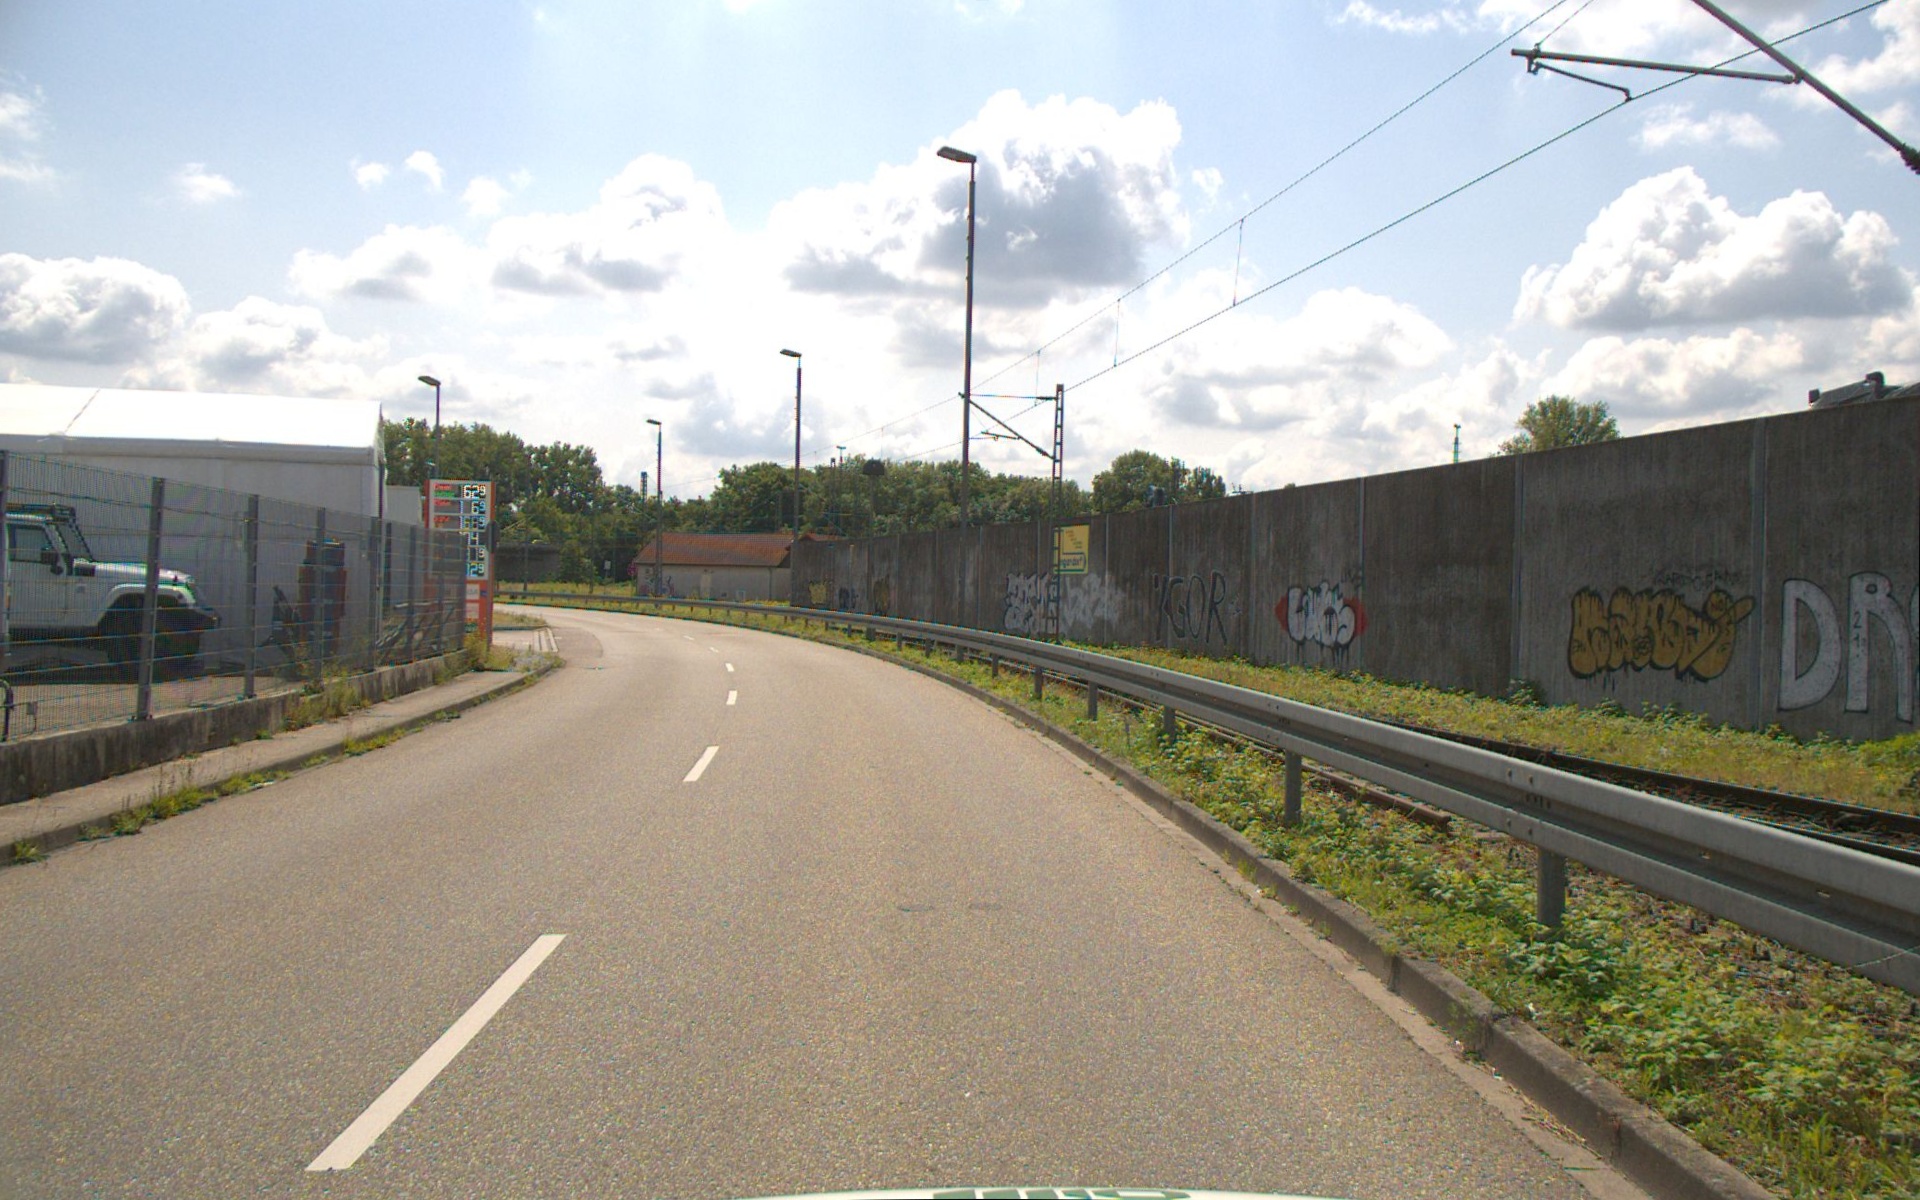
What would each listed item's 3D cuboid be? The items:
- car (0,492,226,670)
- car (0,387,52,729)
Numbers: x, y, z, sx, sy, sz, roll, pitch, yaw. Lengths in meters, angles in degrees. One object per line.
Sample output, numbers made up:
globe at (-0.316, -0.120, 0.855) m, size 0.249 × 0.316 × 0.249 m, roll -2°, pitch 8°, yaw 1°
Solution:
car at (-11.448, -0.221, 20.101) m, size 4.491 × 2.062 × 2.045 m, roll 1°, pitch 0°, yaw -22°
car at (-7.952, -0.306, 9.894) m, size 2.079 × 2.581 × 6.706 m, roll 1°, pitch 0°, yaw -7°
